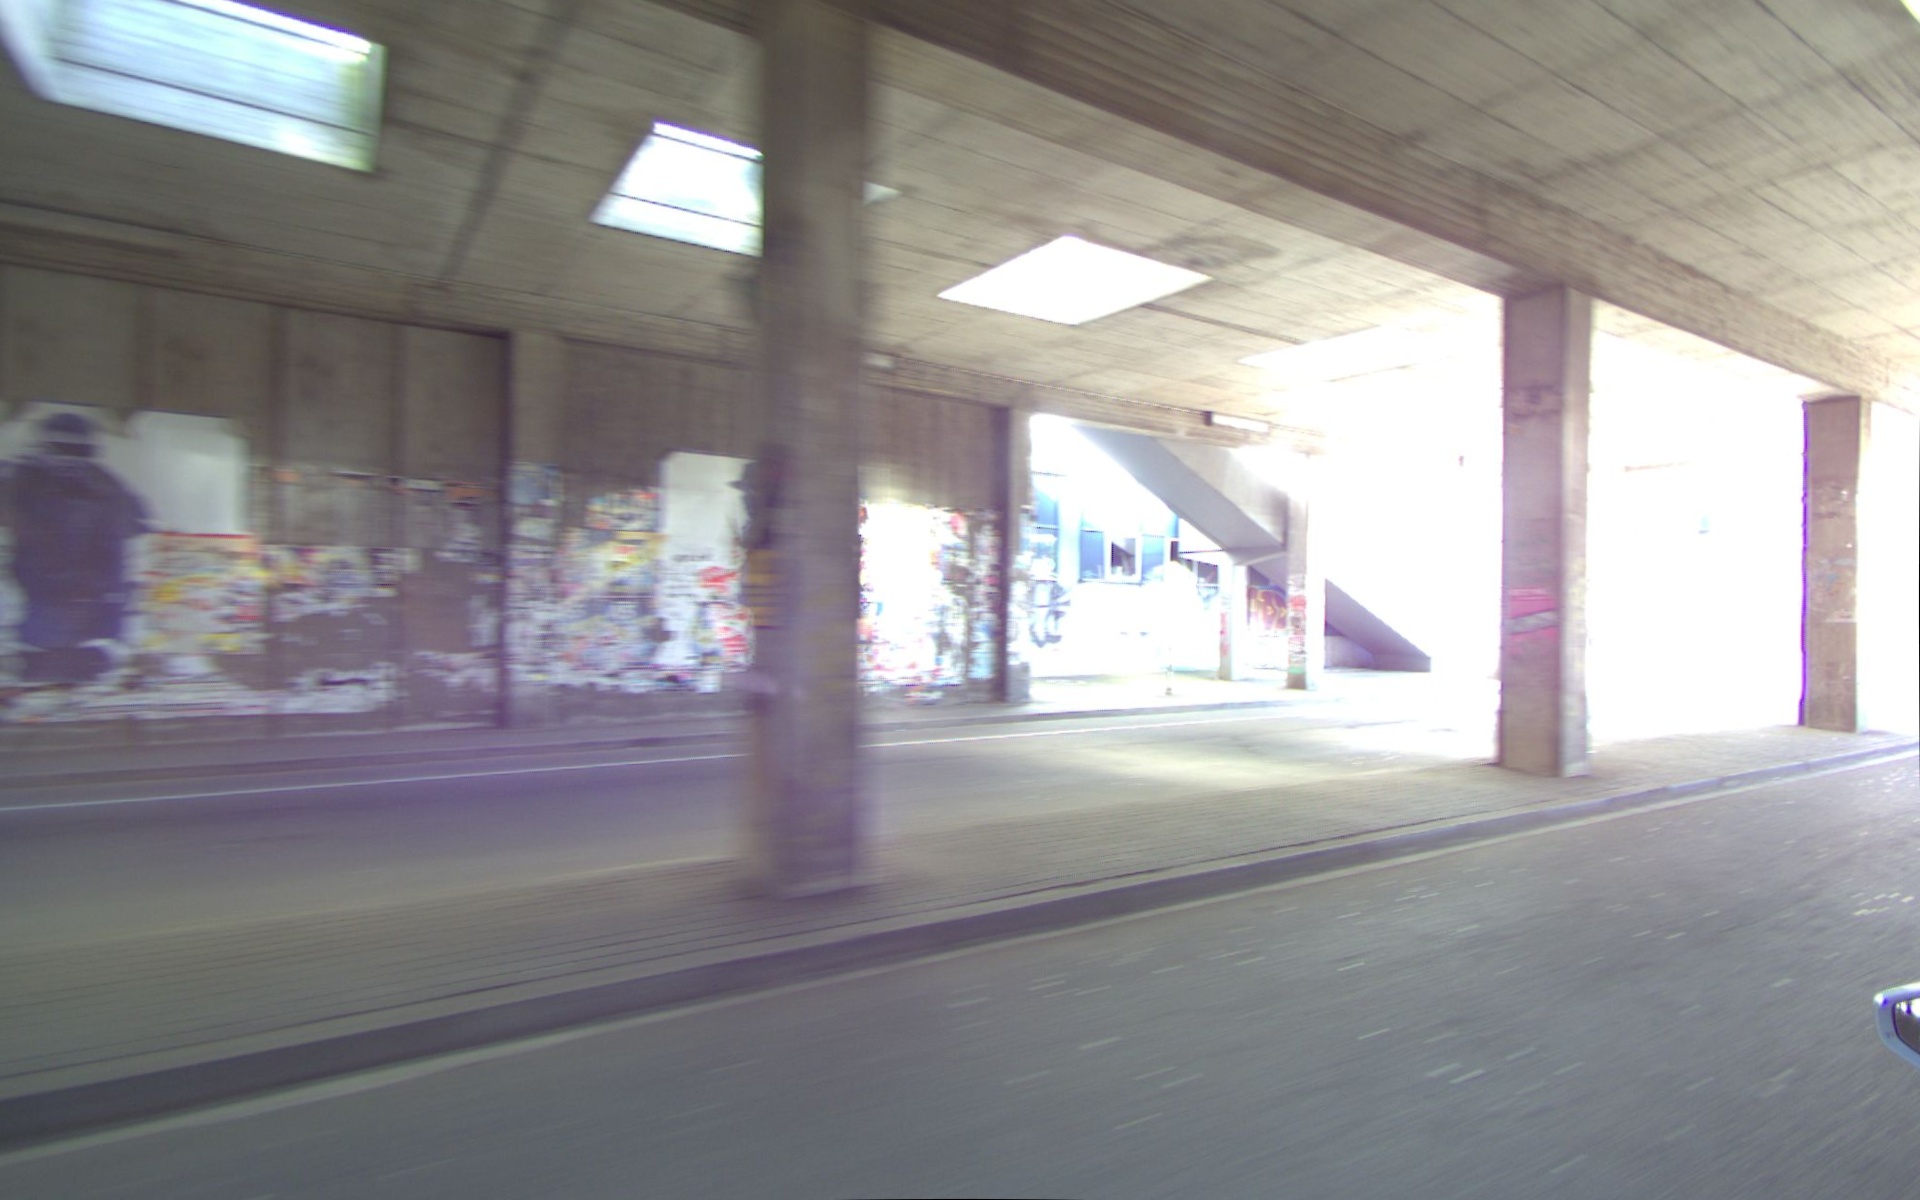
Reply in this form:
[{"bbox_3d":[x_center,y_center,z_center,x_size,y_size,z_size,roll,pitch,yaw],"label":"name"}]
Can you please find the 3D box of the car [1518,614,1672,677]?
[{"bbox_3d":[23.473,1.616,37.275,1.978,2.041,4.454,-2,1,-32],"label":"car"}]
